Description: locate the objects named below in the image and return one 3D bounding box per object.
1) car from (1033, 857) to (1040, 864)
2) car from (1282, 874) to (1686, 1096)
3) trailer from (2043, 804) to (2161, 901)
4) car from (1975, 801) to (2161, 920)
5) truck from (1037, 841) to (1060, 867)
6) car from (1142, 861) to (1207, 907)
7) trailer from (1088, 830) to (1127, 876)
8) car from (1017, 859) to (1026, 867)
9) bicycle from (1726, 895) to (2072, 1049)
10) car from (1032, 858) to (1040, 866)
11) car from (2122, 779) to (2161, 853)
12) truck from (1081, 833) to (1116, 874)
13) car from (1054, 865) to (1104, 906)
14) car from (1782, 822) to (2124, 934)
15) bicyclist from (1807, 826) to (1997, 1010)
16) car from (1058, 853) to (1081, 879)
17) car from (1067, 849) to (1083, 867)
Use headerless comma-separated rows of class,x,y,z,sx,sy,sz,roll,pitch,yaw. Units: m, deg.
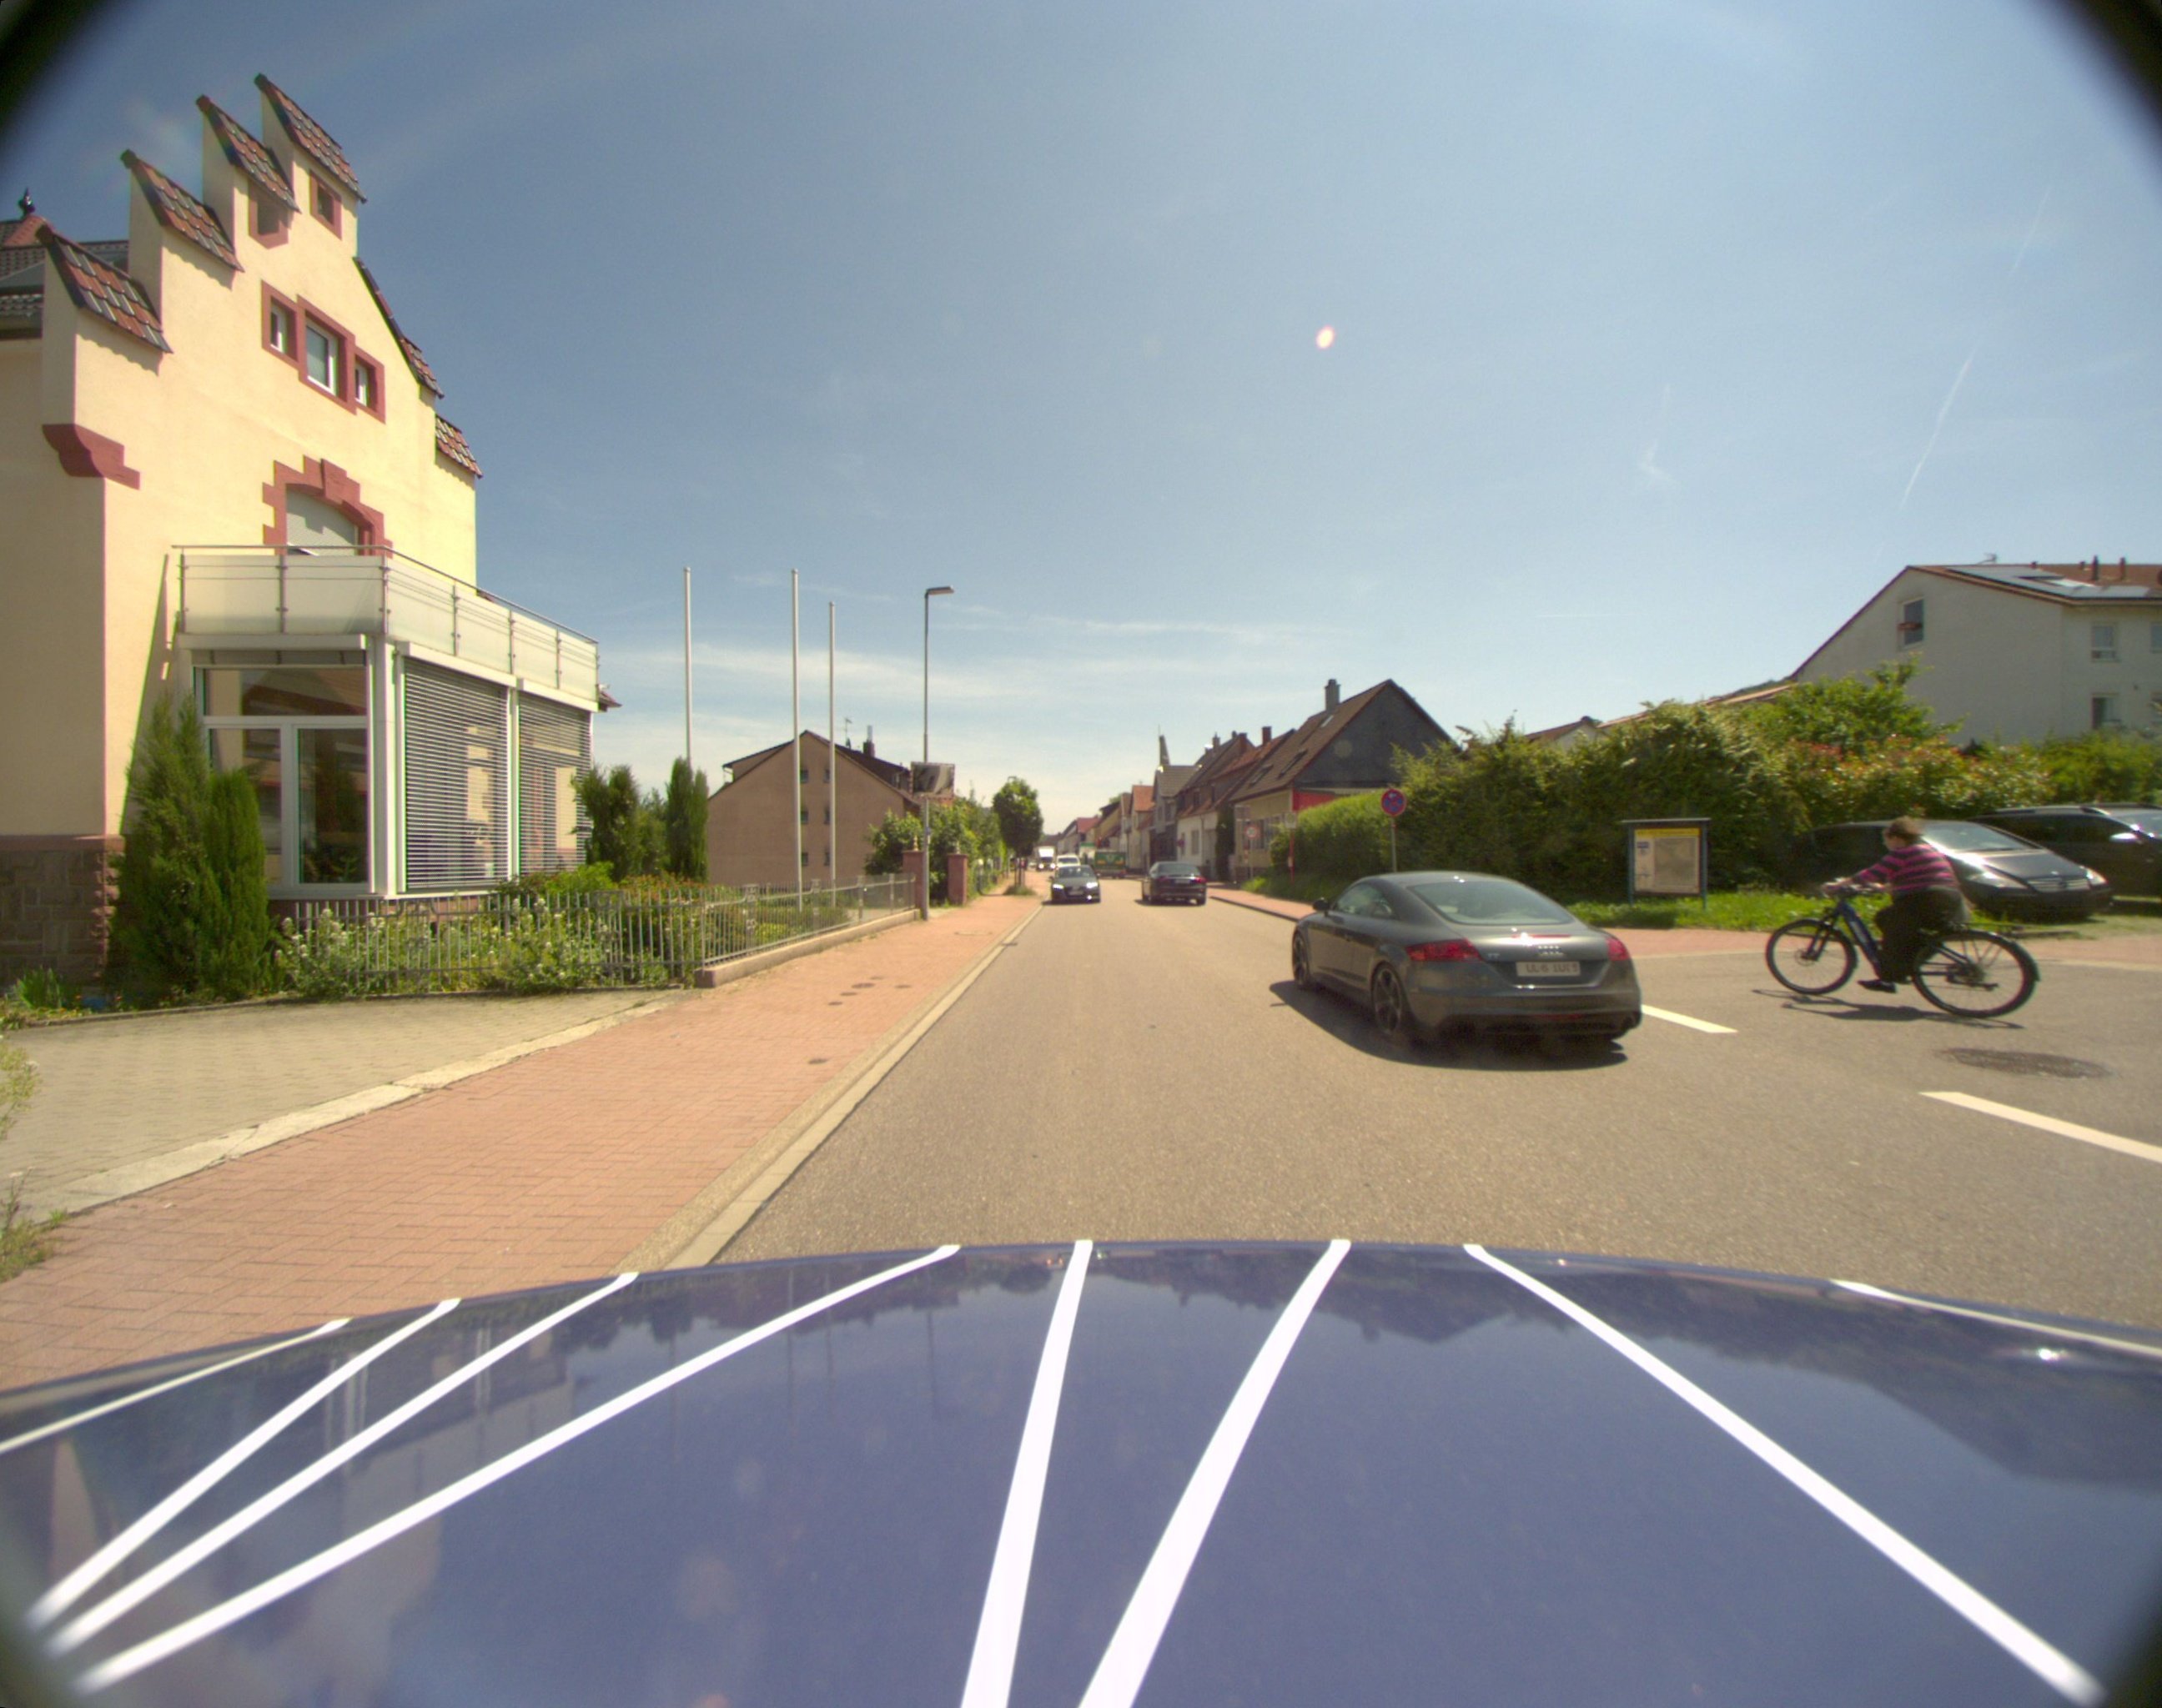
car,-9.992,1.458,171.001,1.508,1.432,3.534,-3,1,-5
car,3.232,0.938,7.066,1.710,1.362,3.869,2,0,1
trailer,19.512,-0.056,13.449,1.430,1.654,2.691,-5,0,-4
car,16.997,0.059,12.021,1.627,1.769,3.511,-3,0,4
truck,-4.900,0.021,110.909,2.899,3.516,12.948,-1,0,-4
car,3.222,0.981,26.951,1.734,1.451,4.694,0,0,0
trailer,2.154,-0.043,64.645,2.537,3.627,8.458,0,0,-4
car,-11.733,1.717,150.104,1.637,1.572,3.568,1,0,-4
bicycle,7.232,0.962,6.898,0.673,1.050,2.023,-4,1,-18
car,-9.125,1.557,154.823,1.508,1.432,3.534,-3,1,-5
car,27.181,-0.979,17.819,3.639,1.724,1.420,-3,1,-2
truck,1.574,-0.027,73.874,2.574,3.678,10.074,0,0,-4
car,-0.144,1.115,28.581,1.705,1.346,3.999,-2,0,-2
car,14.246,0.342,12.777,1.627,1.531,3.652,-3,0,4
bicyclist,7.253,0.529,6.750,0.661,1.485,0.908,-4,1,-18
car,-0.882,0.891,57.801,1.637,1.833,3.569,-1,0,-2
car,-0.876,0.573,107.350,2.035,2.446,6.066,1,0,-3
